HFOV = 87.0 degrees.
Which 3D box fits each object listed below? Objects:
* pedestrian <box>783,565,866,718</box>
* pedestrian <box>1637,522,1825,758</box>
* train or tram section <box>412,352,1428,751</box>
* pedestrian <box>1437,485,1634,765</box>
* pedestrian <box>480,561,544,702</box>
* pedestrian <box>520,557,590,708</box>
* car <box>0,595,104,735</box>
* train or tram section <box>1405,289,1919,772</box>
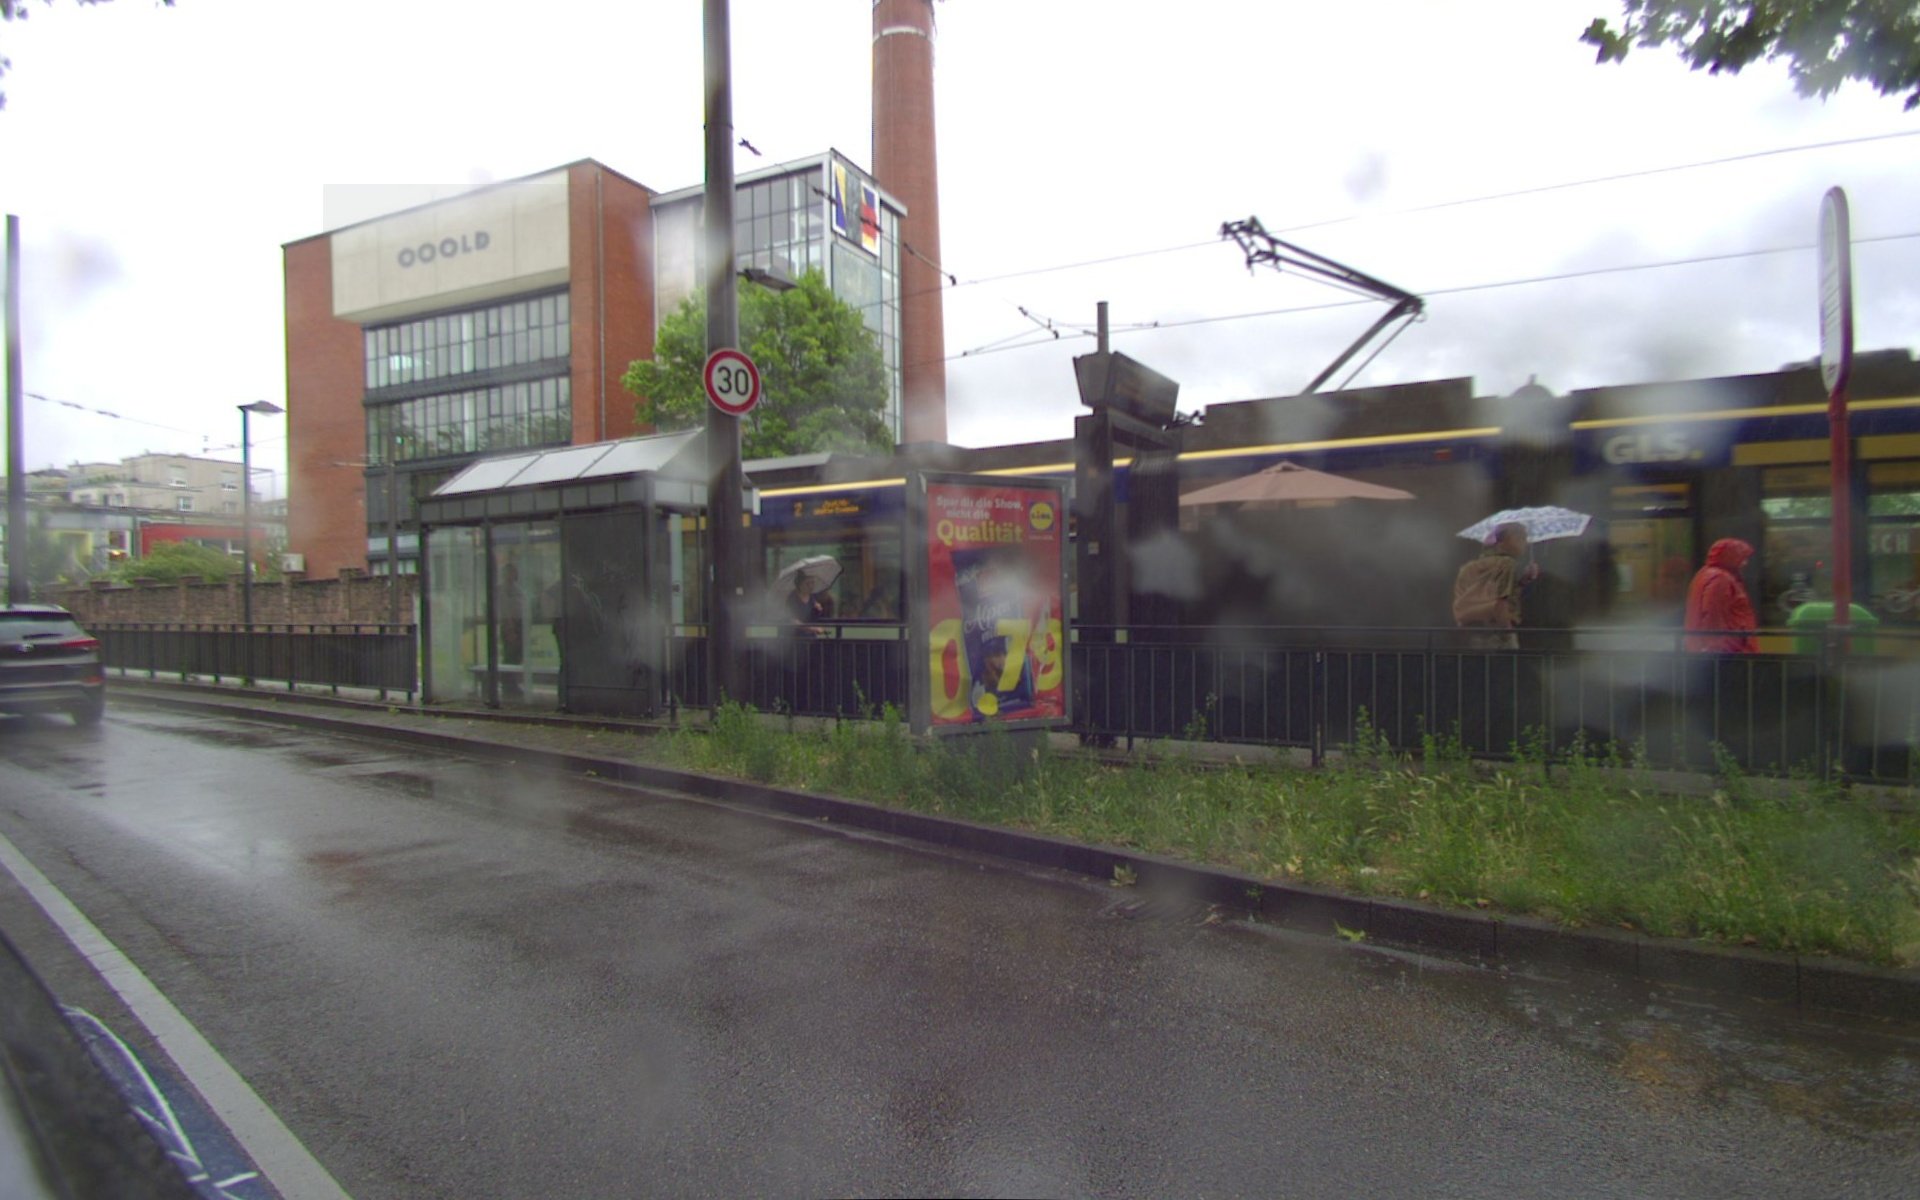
[{"bbox_3d":[-1.487,0.461,11.170,0.504,1.610,0.790,-4,-4,30],"label":"pedestrian"},{"bbox_3d":[5.514,0.292,7.294,0.651,1.584,0.797,-2,-3,4],"label":"pedestrian"},{"bbox_3d":[-1.956,-0.318,14.284,15.318,3.572,2.839,-1,0,31],"label":"train or tram section"},{"bbox_3d":[4.136,0.201,7.336,1.072,1.840,0.975,-4,-4,30],"label":"pedestrian"},{"bbox_3d":[-5.770,0.390,13.038,0.620,1.762,0.515,-1,0,-41],"label":"pedestrian"},{"bbox_3d":[-4.912,0.380,12.267,0.620,1.762,0.565,-1,0,-41],"label":"pedestrian"},{"bbox_3d":[-13.481,0.848,13.815,4.596,1.695,1.786,-2,0,37],"label":"car"},{"bbox_3d":[10.721,-0.584,7.252,13.646,3.572,2.843,-1,0,27],"label":"train or tram section"}]
